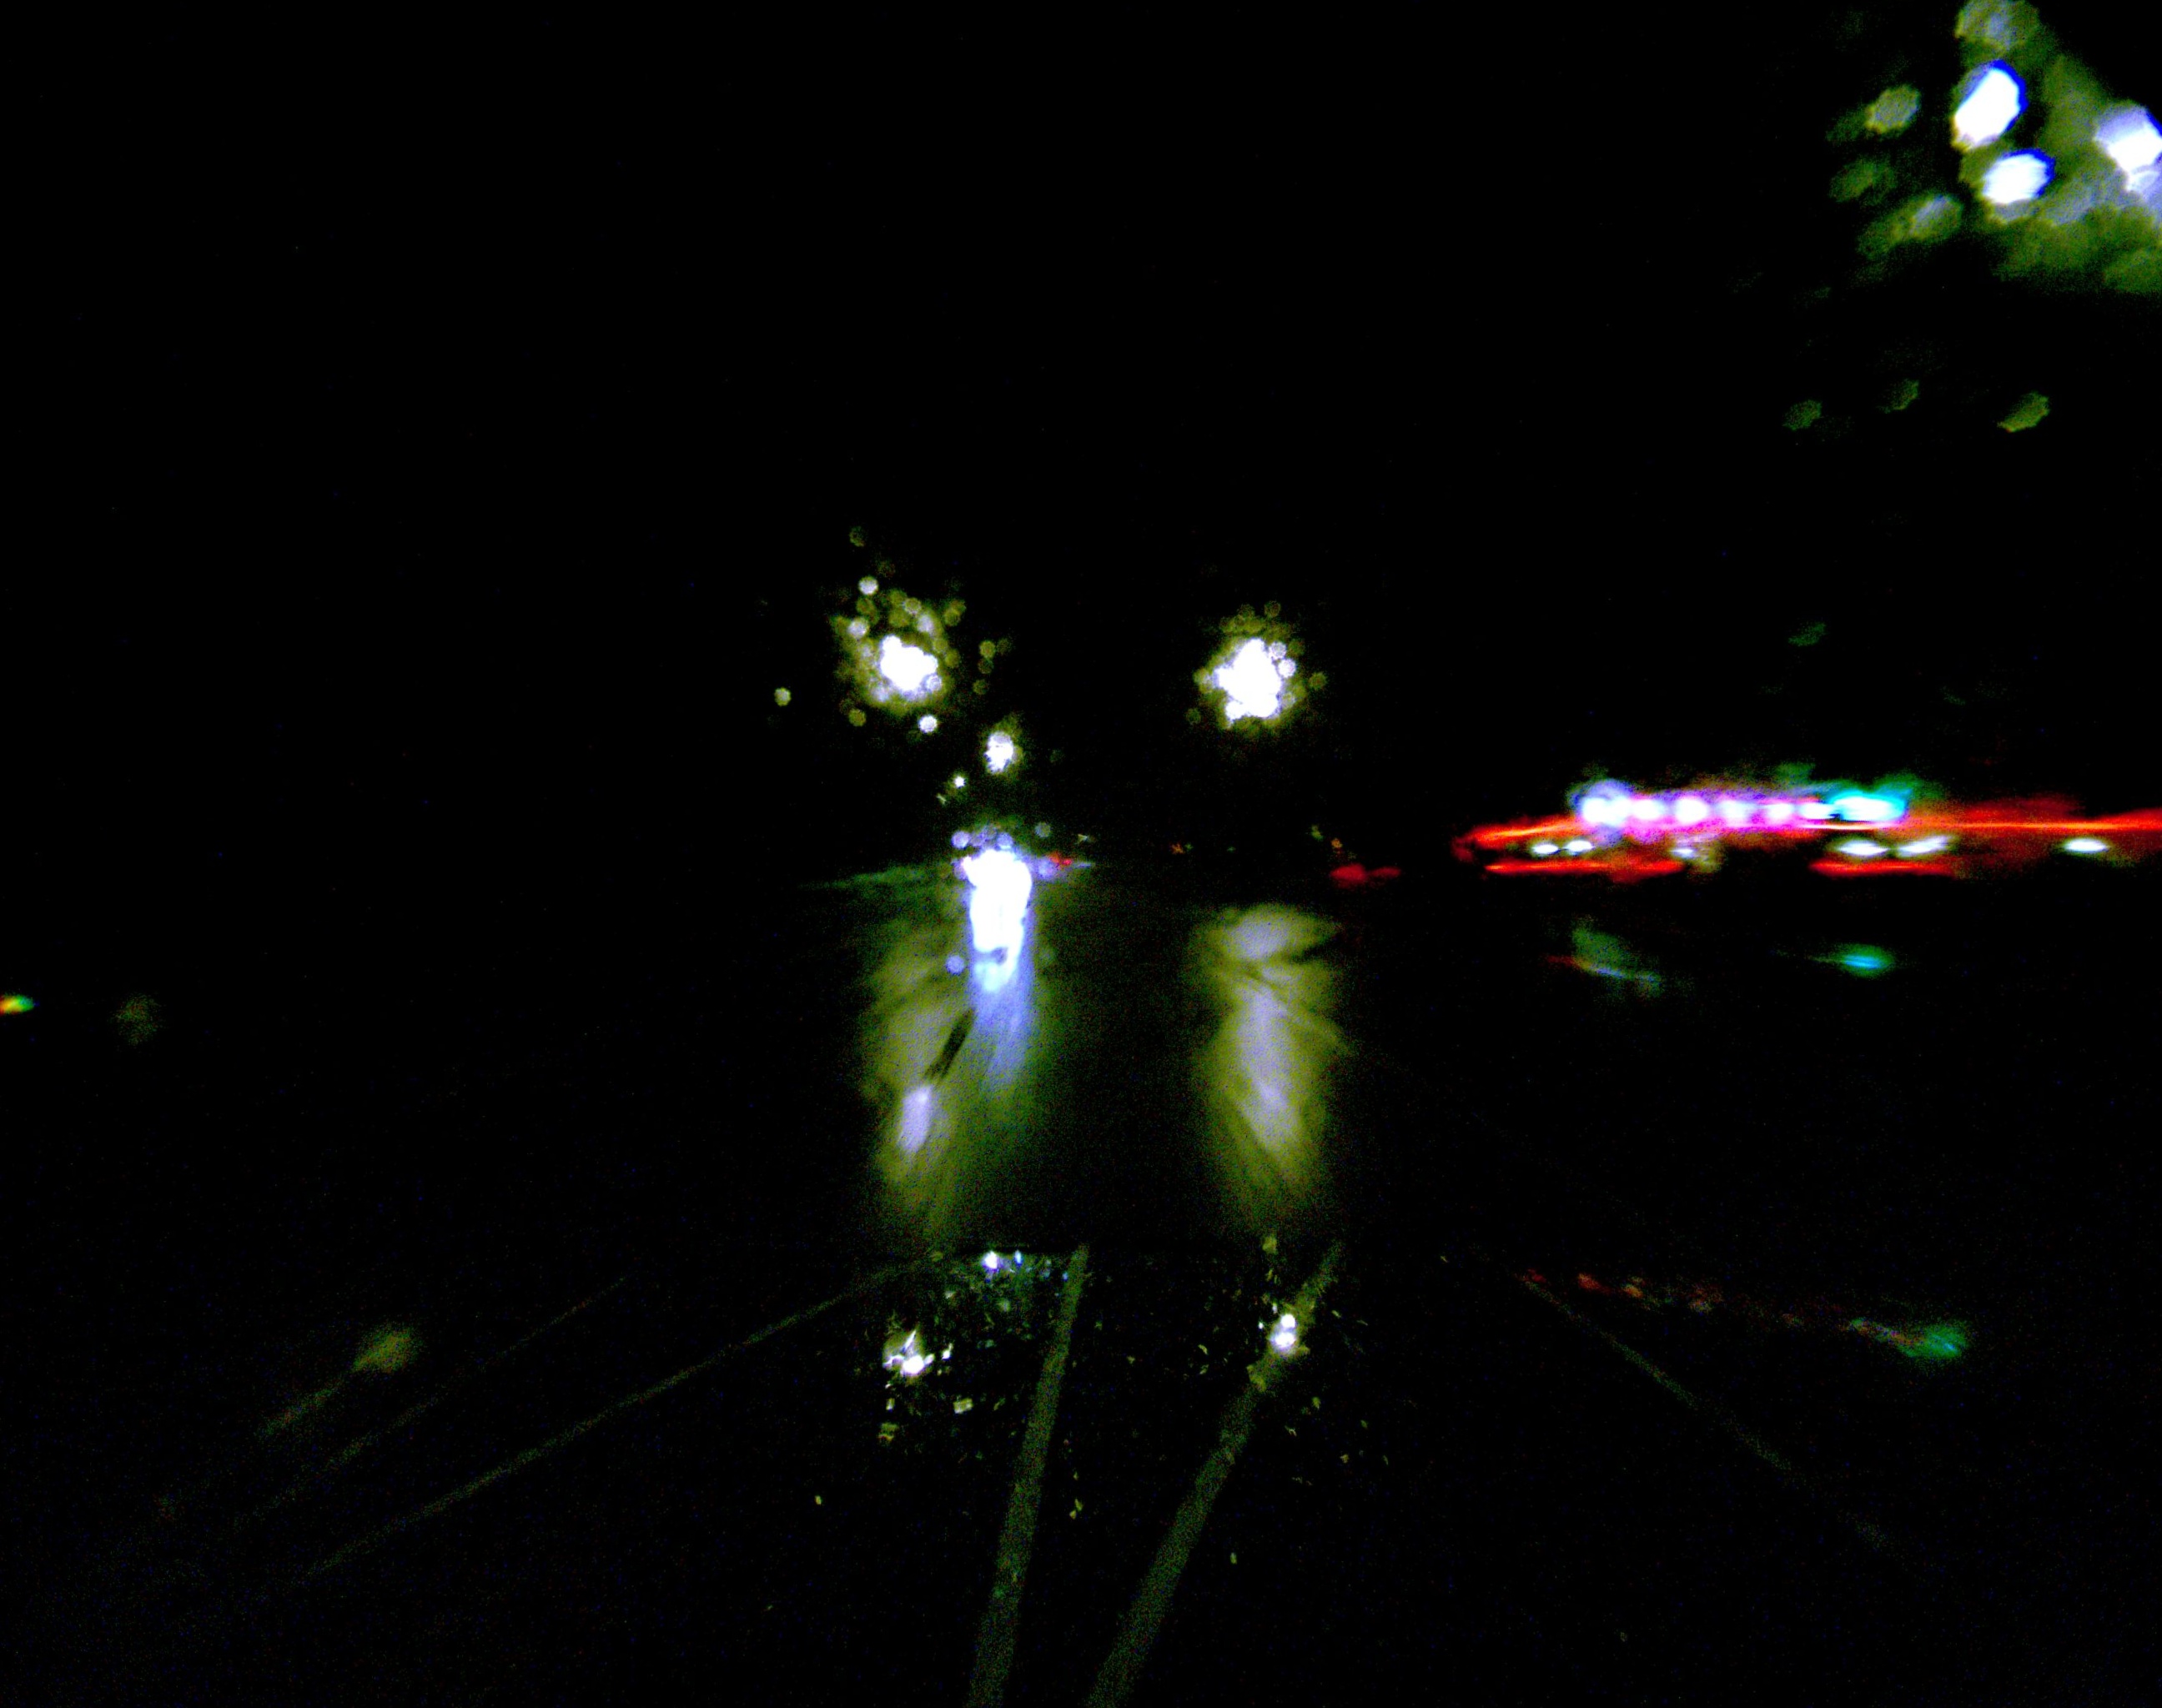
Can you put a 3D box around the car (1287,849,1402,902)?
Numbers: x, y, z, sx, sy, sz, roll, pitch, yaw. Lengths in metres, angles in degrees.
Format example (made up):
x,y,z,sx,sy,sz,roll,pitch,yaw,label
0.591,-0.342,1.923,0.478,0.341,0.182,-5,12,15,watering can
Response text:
x,y,z,sx,sy,sz,roll,pitch,yaw,label
8.216,0.606,24.088,1.771,1.448,3.949,-3,1,-9,car

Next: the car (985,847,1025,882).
x,y,z,sx,sy,sz,roll,pitch,yaw,label
-4.358,0.588,44.149,1.936,1.862,3.999,-2,0,-1,car

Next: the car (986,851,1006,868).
x,y,z,sx,sy,sz,roll,pitch,yaw,label
-10.062,0.625,89.802,2.000,1.922,3.997,2,-1,-10,car

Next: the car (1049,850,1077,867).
x,y,z,sx,sy,sz,roll,pitch,yaw,label
-1.689,0.427,70.041,1.832,1.495,4.183,0,0,-11,car
